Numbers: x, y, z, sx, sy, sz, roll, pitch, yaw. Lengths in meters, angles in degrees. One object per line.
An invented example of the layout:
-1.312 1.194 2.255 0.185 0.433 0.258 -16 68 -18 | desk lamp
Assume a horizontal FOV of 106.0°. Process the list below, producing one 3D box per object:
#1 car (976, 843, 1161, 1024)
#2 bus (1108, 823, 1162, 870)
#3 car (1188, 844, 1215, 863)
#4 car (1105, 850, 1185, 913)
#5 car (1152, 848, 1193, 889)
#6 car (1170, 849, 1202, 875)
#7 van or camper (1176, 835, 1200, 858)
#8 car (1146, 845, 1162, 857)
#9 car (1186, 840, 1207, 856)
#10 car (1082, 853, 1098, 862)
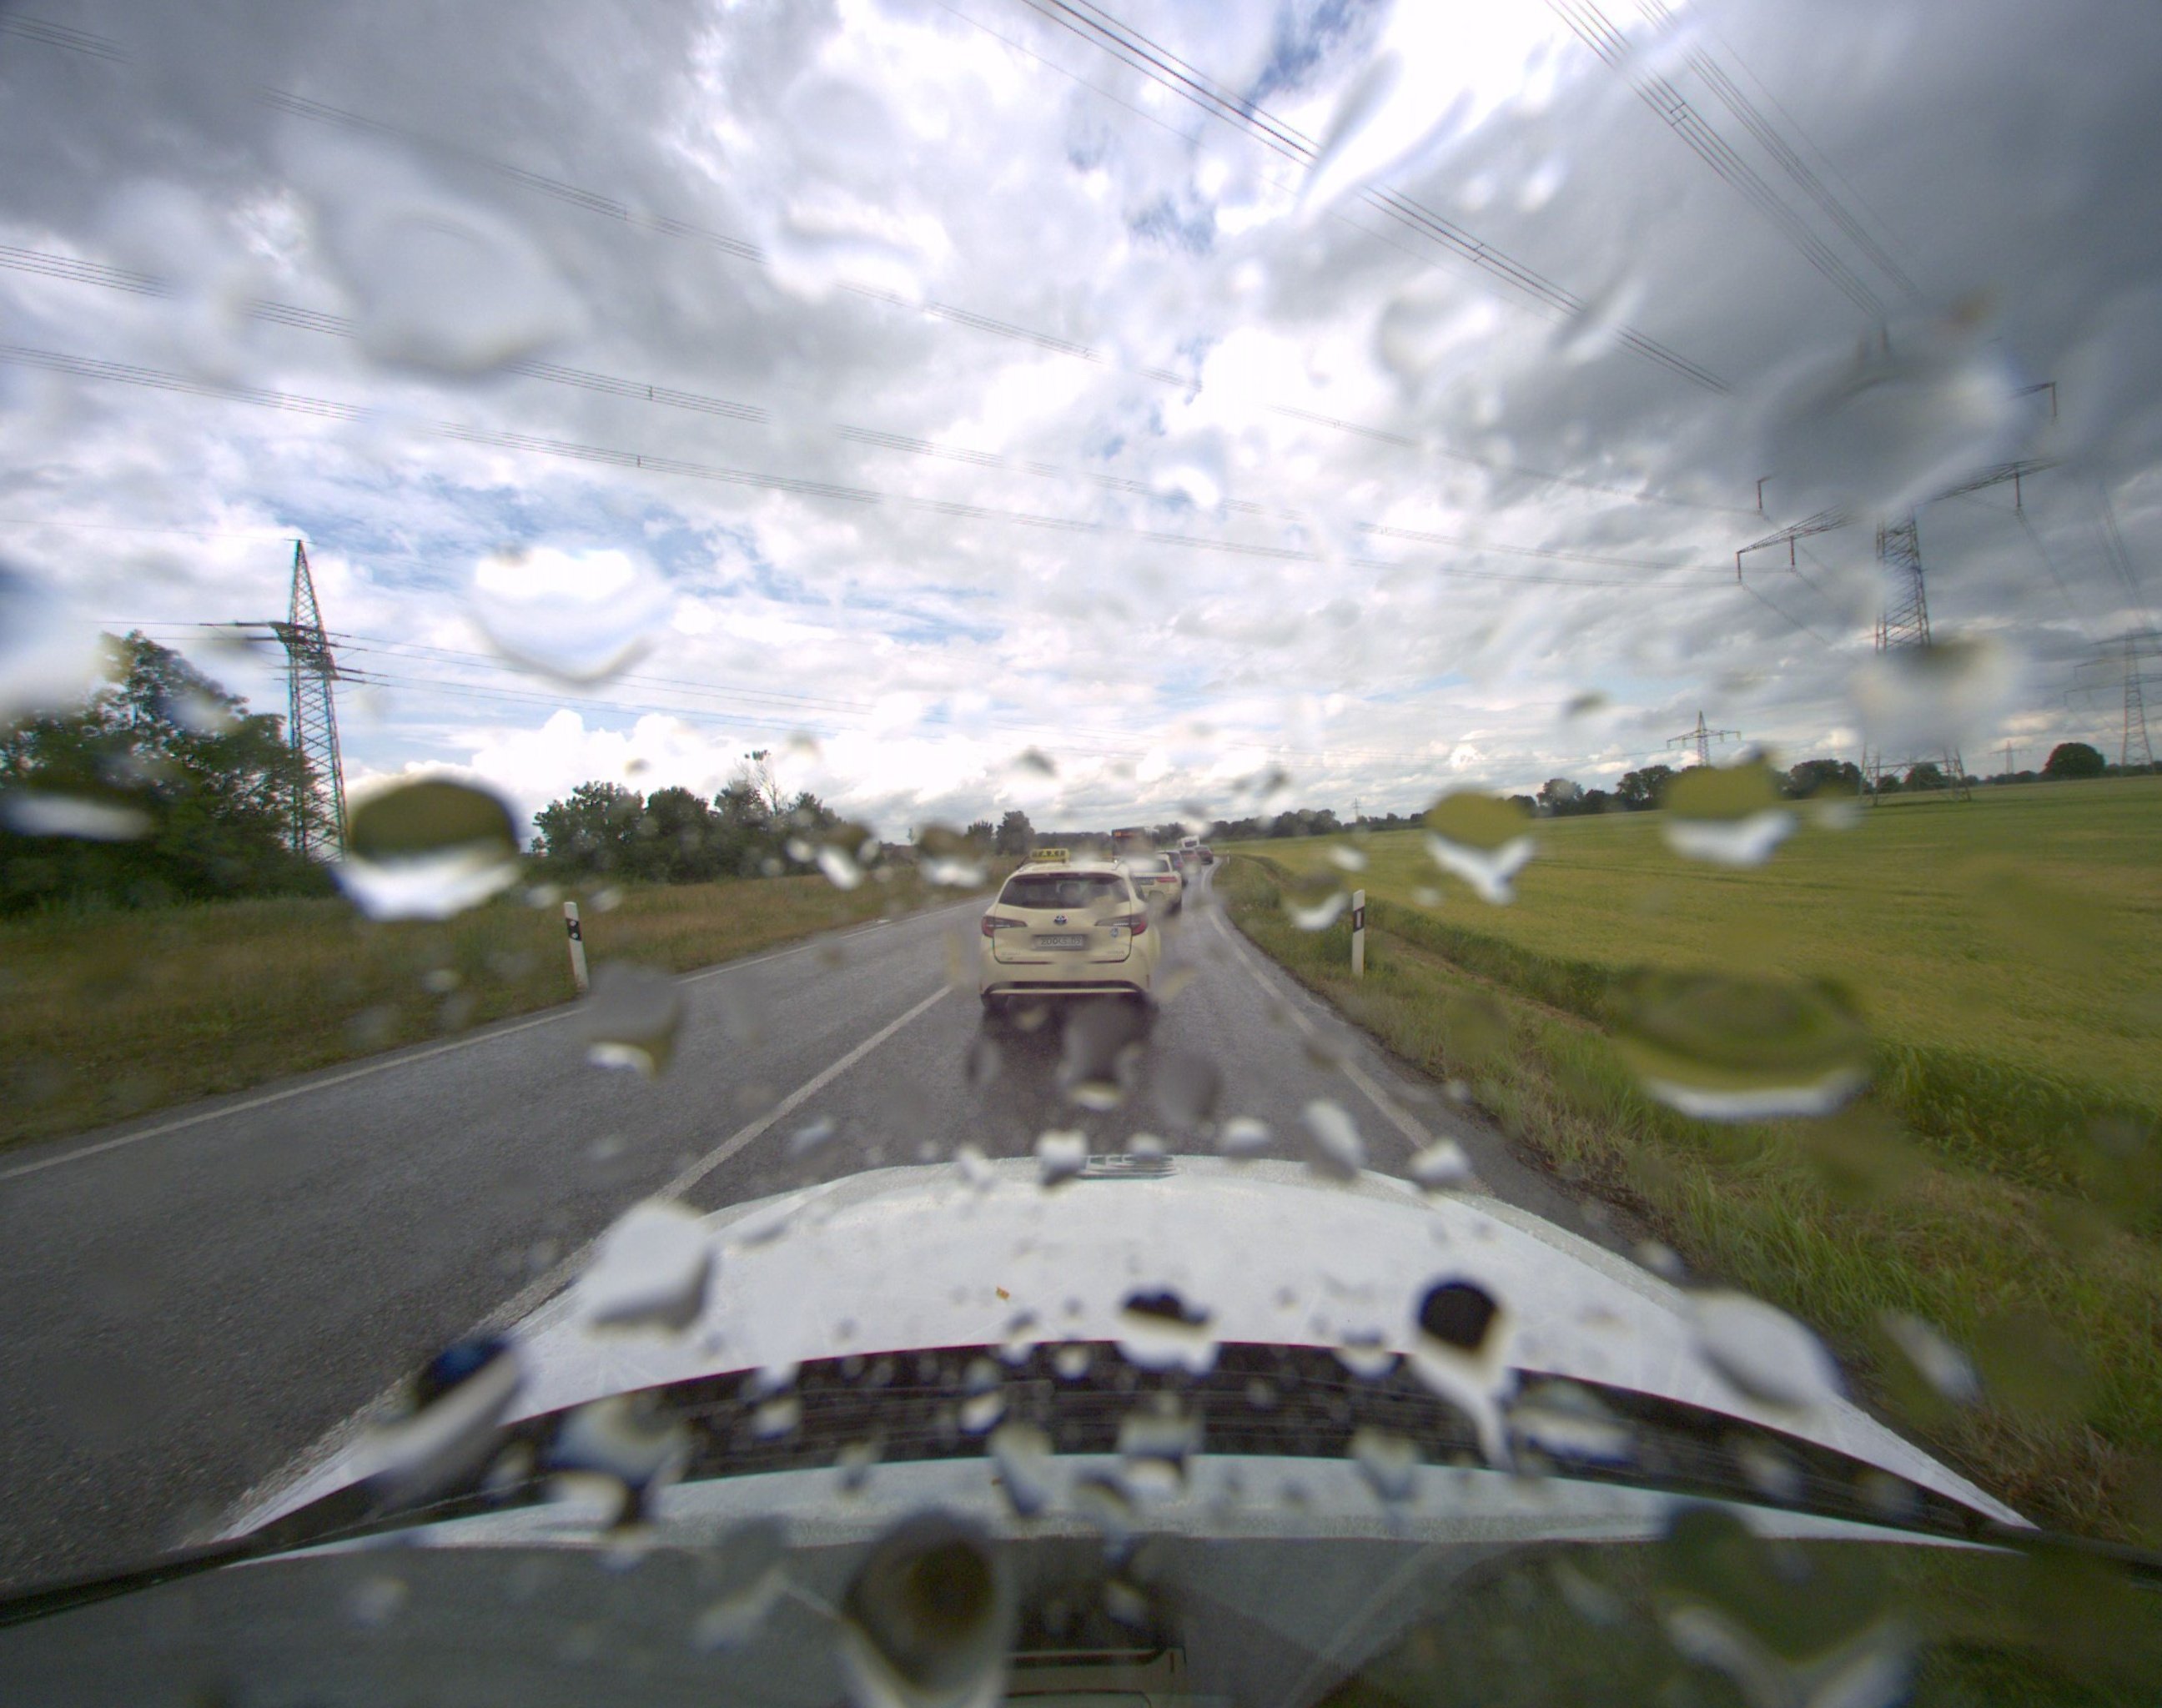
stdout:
0.034 0.727 8.994 1.605 1.562 3.743 -1 -1 5 | car
4.433 -0.596 64.191 2.741 3.298 12.538 -1 0 10 | bus
9.869 -0.032 66.608 1.947 1.413 4.405 -1 -1 10 | car
1.809 0.650 21.712 1.831 1.492 4.618 -1 0 8 | car
4.038 0.622 35.681 1.603 1.659 3.747 -1 -1 9 | car
6.065 0.459 46.757 1.602 1.413 3.749 -1 -1 11 | car
13.913 -0.927 106.337 2.527 2.896 6.746 -1 0 2 | van or camper
8.131 -0.334 91.337 1.711 1.251 4.004 -1 -1 4 | car
12.996 -0.646 91.672 1.951 1.729 3.741 -1 -1 3 | car
1.804 0.698 158.384 1.888 1.773 4.134 -1 -1 -18 | car
